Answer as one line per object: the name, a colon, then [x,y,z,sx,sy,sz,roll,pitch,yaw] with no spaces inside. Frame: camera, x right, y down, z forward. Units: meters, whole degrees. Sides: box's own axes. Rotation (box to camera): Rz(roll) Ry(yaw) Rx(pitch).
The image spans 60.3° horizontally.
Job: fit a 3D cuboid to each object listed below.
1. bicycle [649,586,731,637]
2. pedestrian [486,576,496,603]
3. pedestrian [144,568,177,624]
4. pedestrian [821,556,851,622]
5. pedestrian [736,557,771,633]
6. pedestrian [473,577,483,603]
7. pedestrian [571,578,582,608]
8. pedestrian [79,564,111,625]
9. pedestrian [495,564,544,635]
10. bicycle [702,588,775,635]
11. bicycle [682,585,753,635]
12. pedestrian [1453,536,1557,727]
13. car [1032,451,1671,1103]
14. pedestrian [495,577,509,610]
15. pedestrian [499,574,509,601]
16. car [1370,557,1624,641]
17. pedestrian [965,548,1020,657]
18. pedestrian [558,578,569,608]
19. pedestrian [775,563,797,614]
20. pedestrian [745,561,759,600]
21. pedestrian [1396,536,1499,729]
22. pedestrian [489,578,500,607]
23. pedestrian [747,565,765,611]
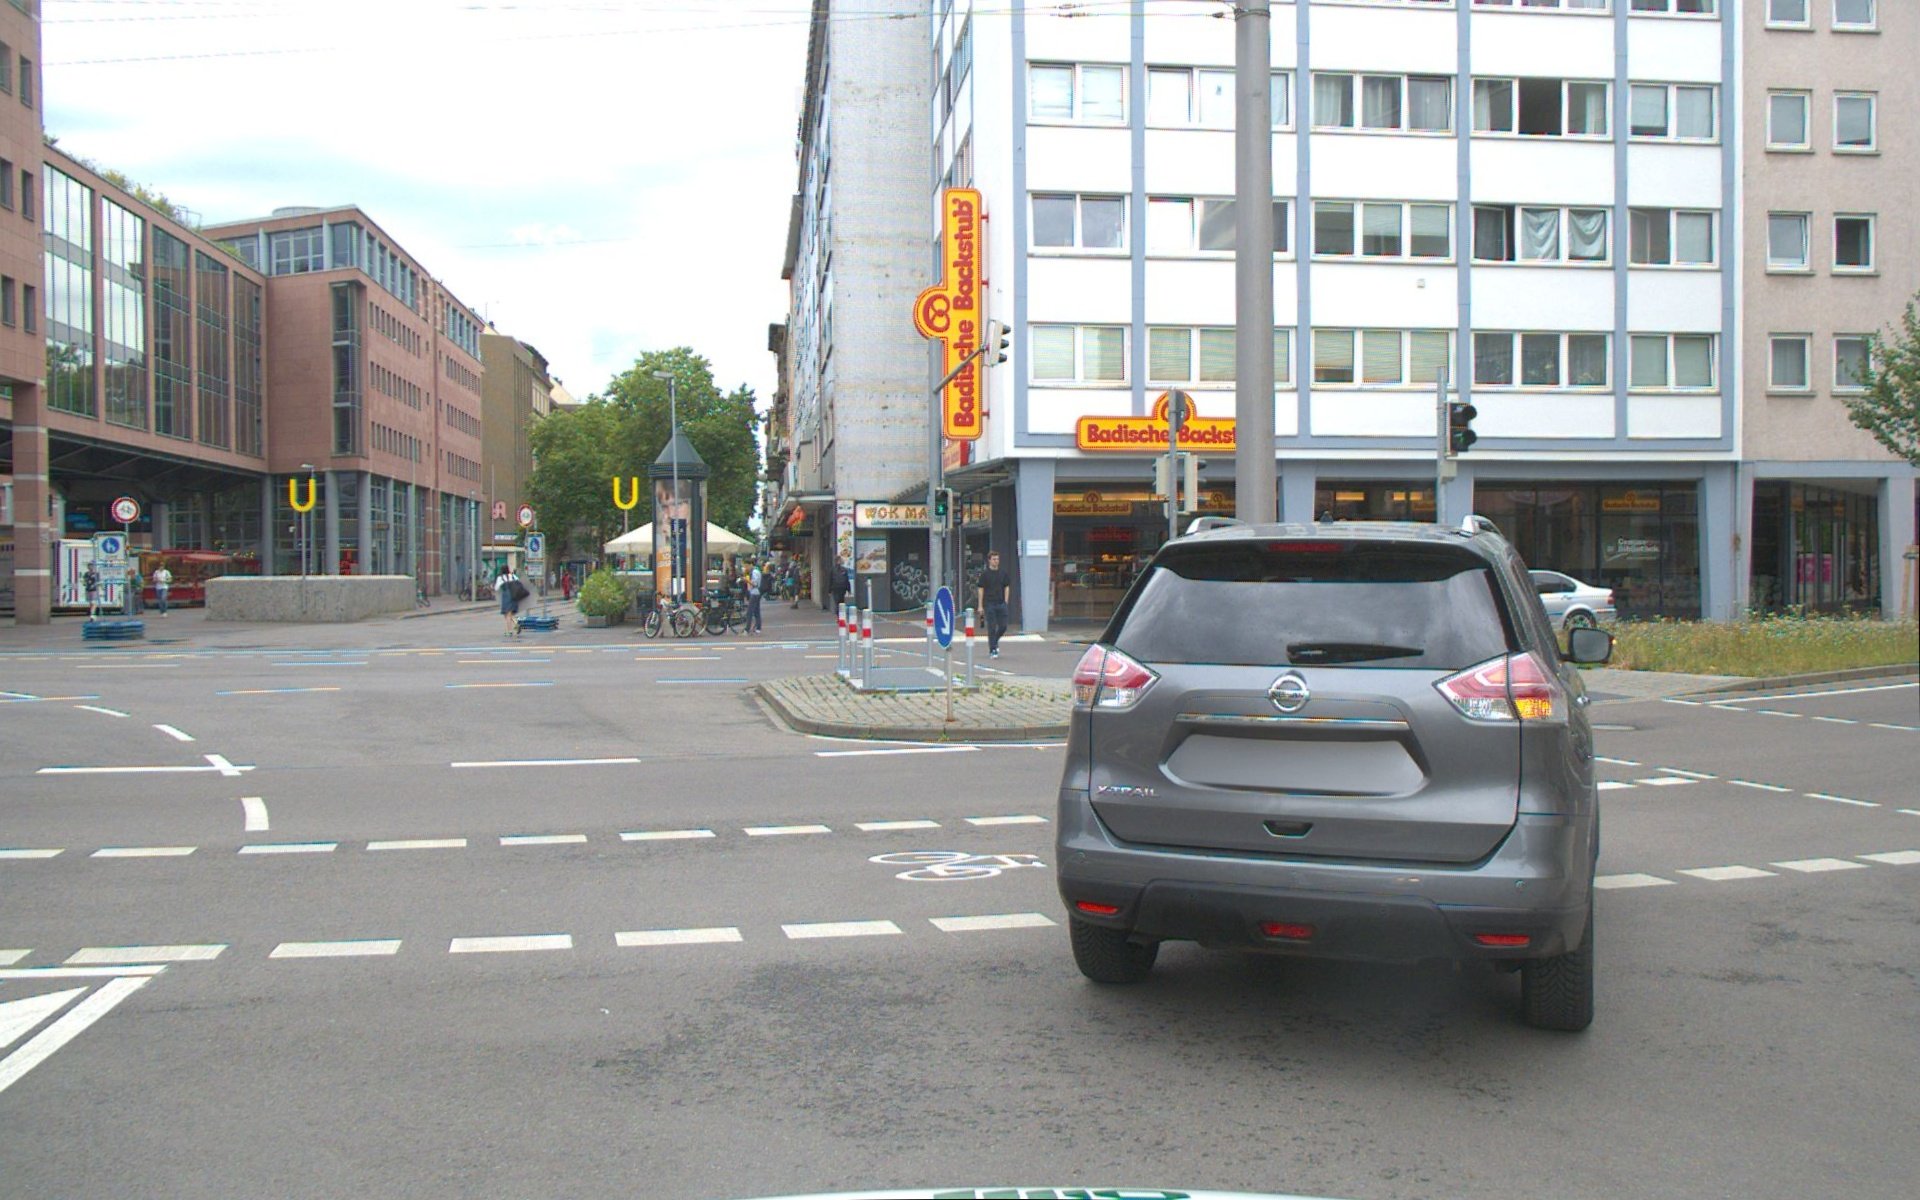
bicycle: [-6.393,0.263,39.200,1.841,1.192,0.527,0,1,-22]
pedestrian: [-31.055,-0.692,109.474,0.590,1.744,0.653,0,1,-15]
pedestrian: [-26.738,-0.139,55.337,0.685,1.874,0.735,1,1,12]
pedestrian: [-3.325,-0.296,44.405,0.695,1.734,0.735,1,1,5]
pedestrian: [-4.889,-0.115,39.111,0.720,1.776,0.660,0,1,-15]
pedestrian: [-31.850,-0.669,109.270,0.590,1.744,0.653,0,1,-15]
pedestrian: [-22.486,-0.428,96.997,0.590,1.744,0.653,0,1,-15]
pedestrian: [-26.734,-0.175,51.148,0.688,1.874,0.732,0,1,-12]
pedestrian: [-10.794,-0.018,40.526,0.906,1.734,0.735,1,1,12]
bicycle: [-5.268,0.275,39.401,1.661,1.084,0.437,1,1,-1]
bicycle: [-5.849,0.248,39.907,1.667,1.192,0.436,0,1,-15]
pedestrian: [5.243,0.288,15.936,0.611,1.792,0.777,0,1,-15]
car: [1.825,0.460,7.039,1.824,1.806,4.569,1,1,19]
pedestrian: [-21.982,-0.312,79.360,0.590,1.563,0.653,0,1,-15]
pedestrian: [-29.168,-0.804,105.808,0.590,1.744,0.653,0,1,-15]
car: [10.566,-0.039,32.661,4.469,1.507,1.744,-1,1,-10]
pedestrian: [0.568,0.034,28.853,0.701,1.864,1.013,0,1,-15]
pedestrian: [-23.186,-0.436,96.781,0.590,1.744,0.653,0,1,-15]
pedestrian: [-6.309,-0.425,59.888,0.724,1.853,0.661,-1,1,-10]
pedestrian: [-9.510,-0.891,75.499,0.600,1.734,0.619,0,1,-7]
pedestrian: [4.631,0.297,15.751,0.611,1.792,0.777,0,1,-15]
pedestrian: [-27.478,-0.438,97.599,0.590,1.744,0.653,0,1,-15]
pedestrian: [-7.623,-0.449,61.848,0.631,1.734,0.558,0,1,-7]
